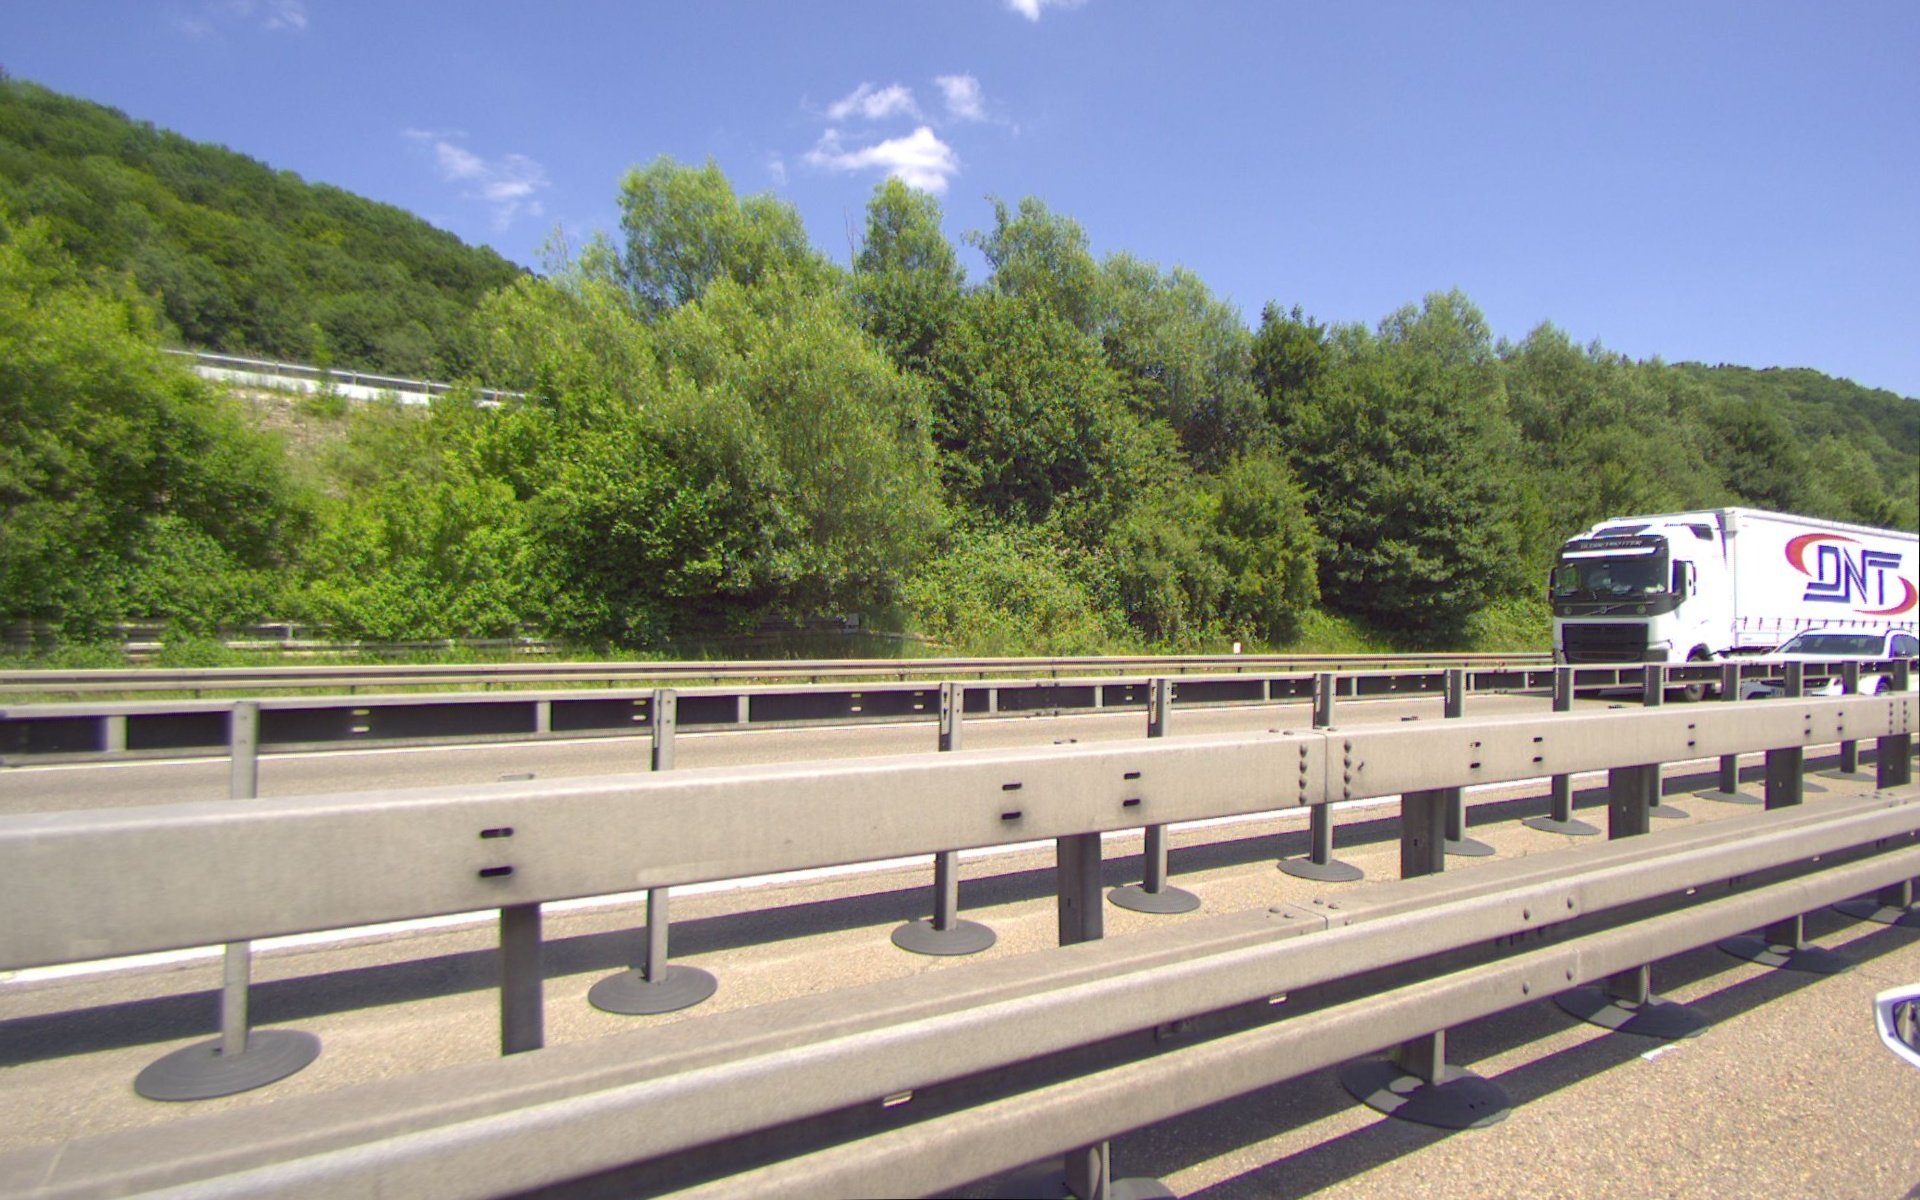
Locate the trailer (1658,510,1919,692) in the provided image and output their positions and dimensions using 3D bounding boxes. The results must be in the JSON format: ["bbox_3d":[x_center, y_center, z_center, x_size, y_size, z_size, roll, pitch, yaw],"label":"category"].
[{"bbox_3d":[23.117,0.129,27.022,11.135,4.130,2.841,1,0,-31],"label":"trailer"}]

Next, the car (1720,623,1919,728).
[{"bbox_3d":[14.658,1.188,16.794,3.954,1.539,1.738,1,0,-31],"label":"car"}]

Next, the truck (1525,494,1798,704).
[{"bbox_3d":[15.820,0.034,22.607,5.780,4.156,2.895,1,0,-31],"label":"truck"}]
